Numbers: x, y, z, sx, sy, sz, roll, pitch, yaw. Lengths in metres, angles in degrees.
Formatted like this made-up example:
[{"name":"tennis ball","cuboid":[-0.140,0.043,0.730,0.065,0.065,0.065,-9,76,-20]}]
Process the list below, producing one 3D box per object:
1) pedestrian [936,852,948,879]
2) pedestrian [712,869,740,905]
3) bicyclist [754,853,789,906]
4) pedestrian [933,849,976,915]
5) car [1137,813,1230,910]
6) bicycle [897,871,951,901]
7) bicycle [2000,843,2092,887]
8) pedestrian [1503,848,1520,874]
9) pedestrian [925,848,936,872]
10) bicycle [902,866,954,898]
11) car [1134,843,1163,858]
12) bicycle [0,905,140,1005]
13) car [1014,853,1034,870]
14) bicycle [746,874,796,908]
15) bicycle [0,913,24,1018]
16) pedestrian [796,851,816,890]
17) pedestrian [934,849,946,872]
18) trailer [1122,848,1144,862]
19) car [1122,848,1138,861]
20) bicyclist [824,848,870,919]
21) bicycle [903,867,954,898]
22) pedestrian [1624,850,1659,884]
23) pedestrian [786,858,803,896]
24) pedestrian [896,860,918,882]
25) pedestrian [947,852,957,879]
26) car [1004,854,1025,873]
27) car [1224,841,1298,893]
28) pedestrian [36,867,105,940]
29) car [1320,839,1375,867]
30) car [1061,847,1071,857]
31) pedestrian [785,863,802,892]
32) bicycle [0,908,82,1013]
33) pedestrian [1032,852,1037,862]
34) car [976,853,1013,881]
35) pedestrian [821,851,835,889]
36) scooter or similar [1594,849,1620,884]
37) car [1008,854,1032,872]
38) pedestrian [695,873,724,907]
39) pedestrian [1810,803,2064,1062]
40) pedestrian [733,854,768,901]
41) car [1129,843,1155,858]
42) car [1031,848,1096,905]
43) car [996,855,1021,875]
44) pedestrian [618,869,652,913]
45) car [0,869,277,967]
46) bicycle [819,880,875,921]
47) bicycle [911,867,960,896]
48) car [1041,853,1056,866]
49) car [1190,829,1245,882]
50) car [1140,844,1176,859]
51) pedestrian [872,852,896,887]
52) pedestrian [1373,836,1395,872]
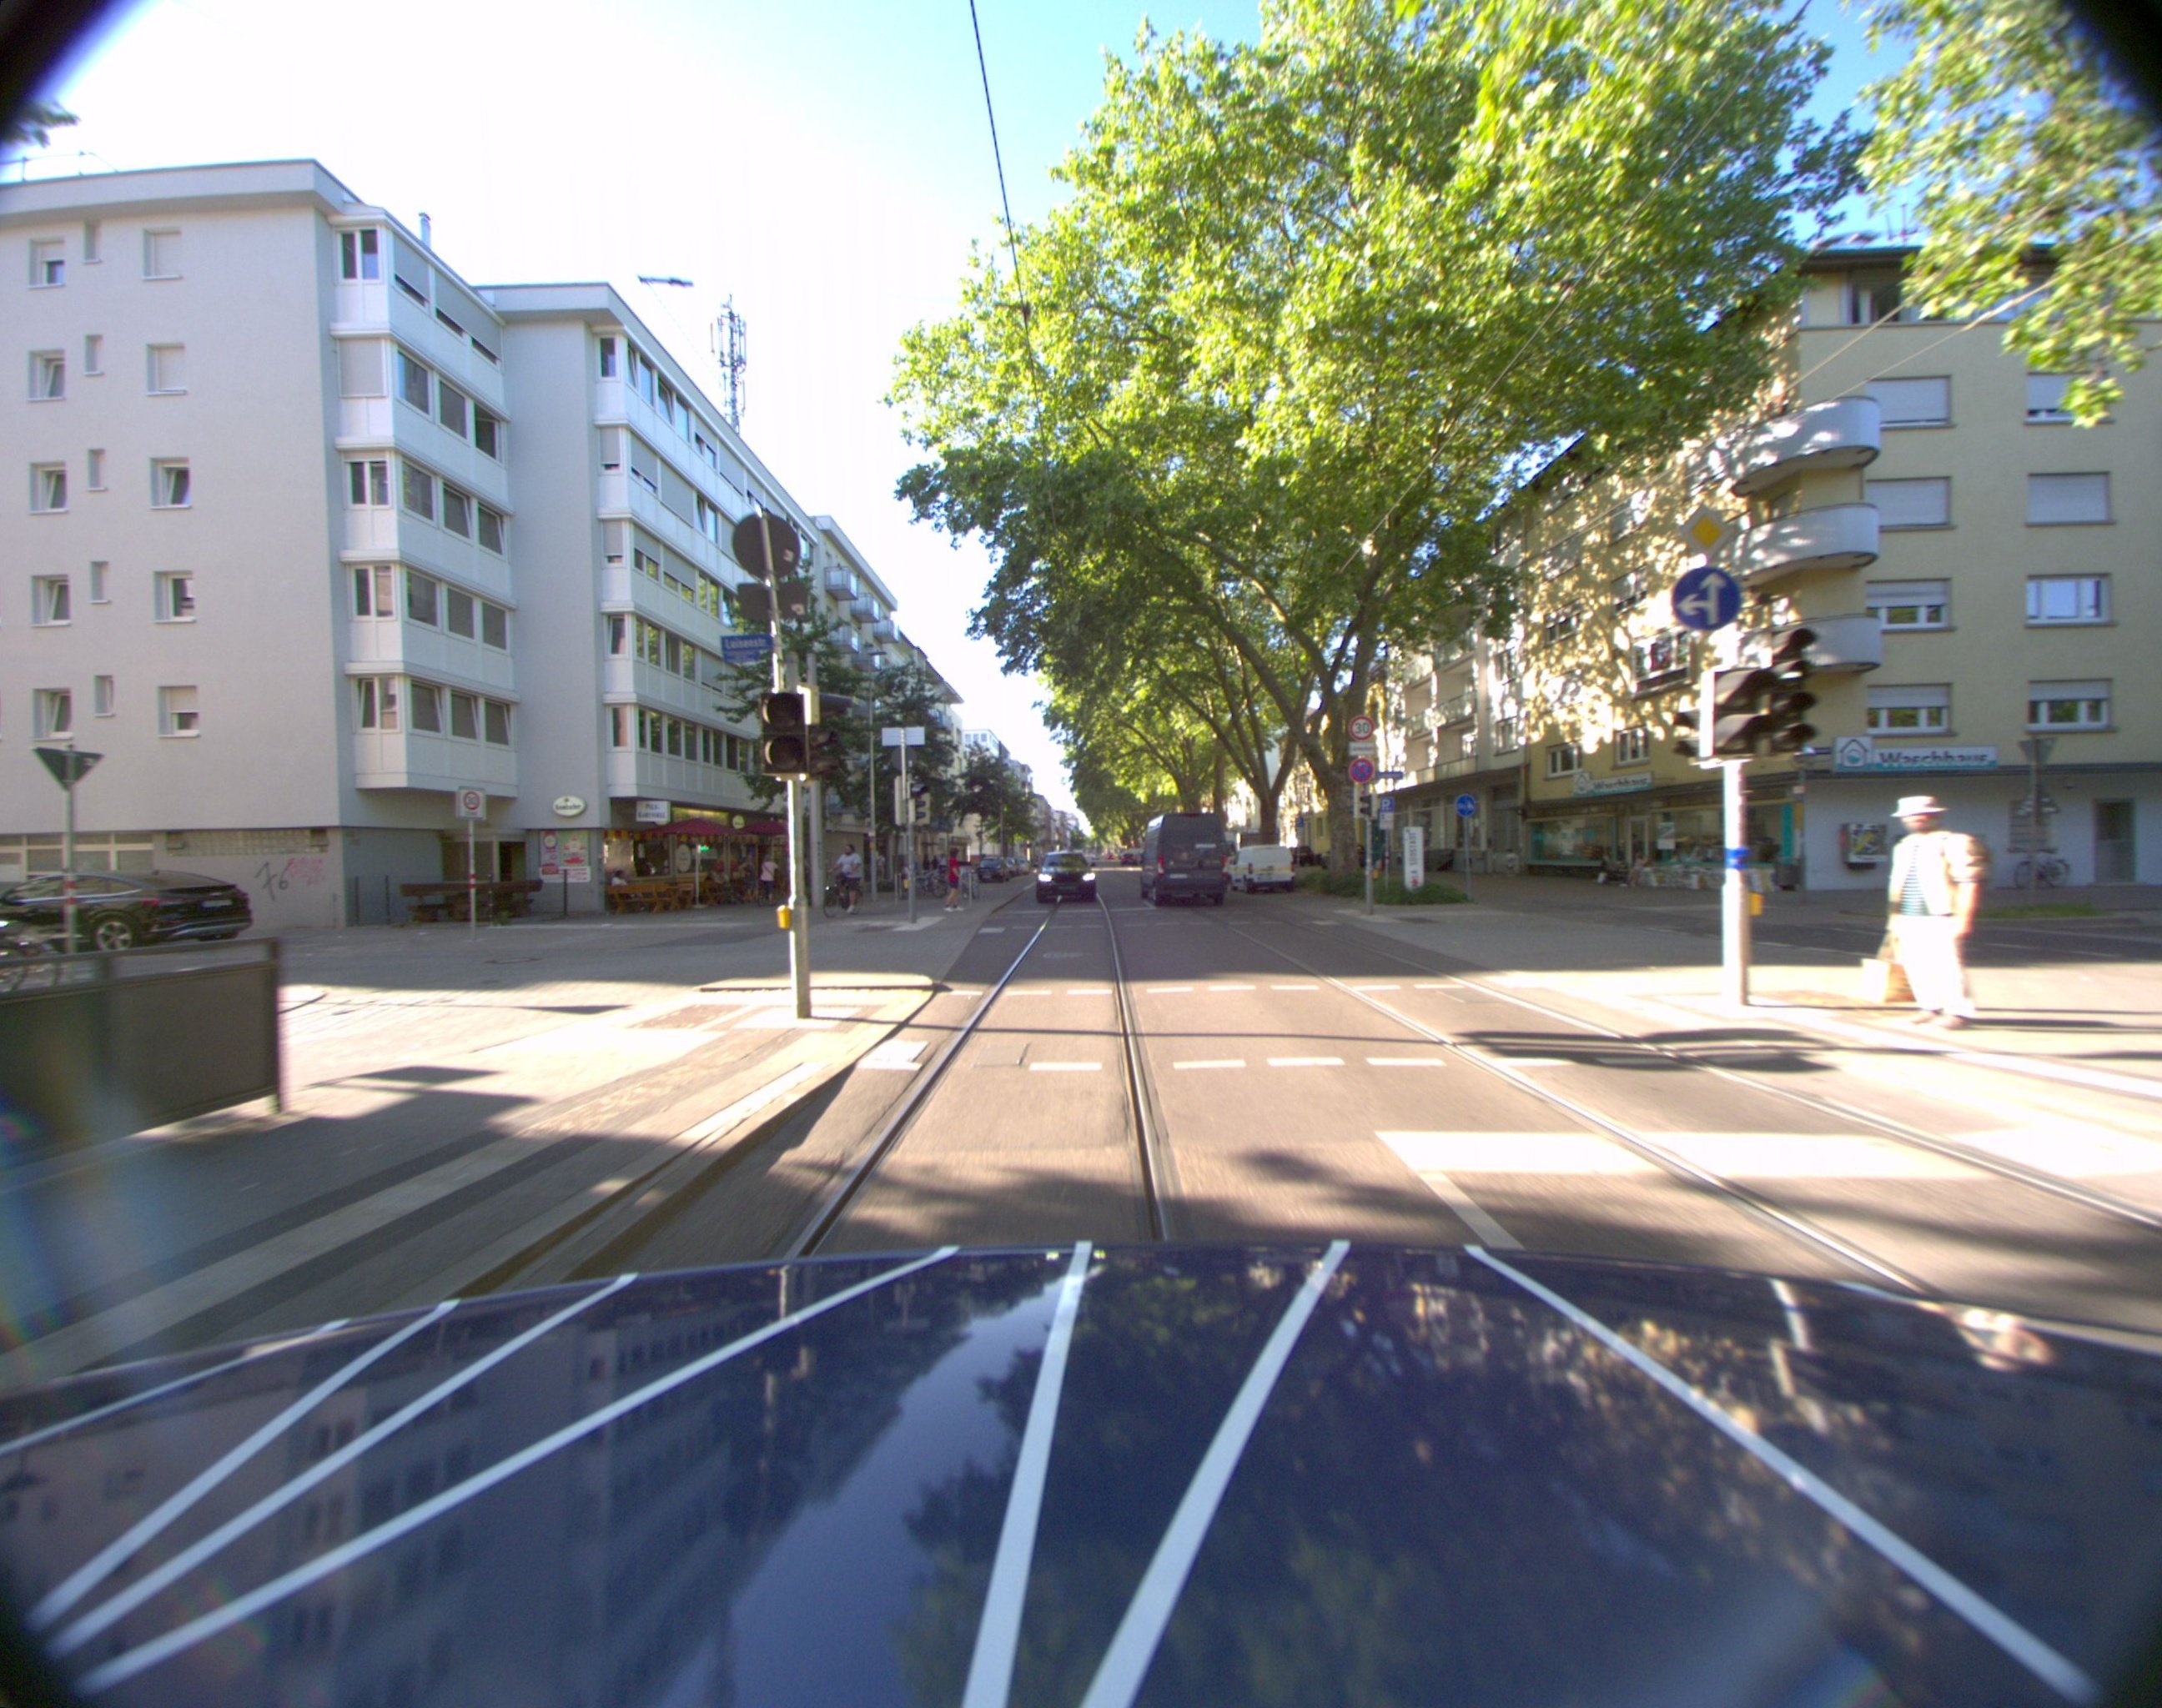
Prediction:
[{"name":"pedestrian","cuboid":[-9.721,0.791,53.037,0.663,1.841,0.539,-2,1,0]},{"name":"pedestrian","cuboid":[-12.269,1.138,26.292,0.660,1.168,0.522,-2,1,-1]},{"name":"bicyclist","cuboid":[-10.318,0.845,25.357,0.678,1.707,0.965,-2,1,3]},{"name":"pedestrian","cuboid":[-3.489,0.752,20.968,1.048,1.748,0.877,-2,1,-13]},{"name":"car","cuboid":[3.129,0.170,24.510,2.119,2.722,6.113,0,1,-1]},{"name":"bicycle","cuboid":[-5.706,1.156,27.629,1.820,0.988,0.481,-2,1,-1]},{"name":"bicycle","cuboid":[25.231,0.292,19.878,1.637,1.078,0.543,-2,0,2]},{"name":"pedestrian","cuboid":[18.333,0.285,32.354,0.421,1.099,0.437,-2,1,-9]},{"name":"pedestrian","cuboid":[-10.633,0.435,53.659,0.597,1.668,0.934,1,1,-1]},{"name":"bicycle","cuboid":[-5.753,1.060,28.658,1.821,1.094,0.497,-2,1,-7]},{"name":"car","cuboid":[11.070,-0.565,124.622,4.661,2.293,2.000,-2,1,1]},{"name":"bicycle","cuboid":[-13.381,1.280,9.740,1.919,1.200,0.511,-1,0,-2]},{"name":"car","cuboid":[-5.435,0.712,73.088,1.724,1.562,4.258,1,1,-2]},{"name":"bicycle","cuboid":[-10.316,1.216,25.376,0.678,0.957,2.022,-2,1,4]},{"name":"bicycle","cuboid":[-13.415,1.306,8.651,1.919,1.200,0.511,-1,0,-2]},{"name":"pedestrian","cuboid":[-12.839,0.778,35.472,0.525,1.795,0.633,-1,2,44]},{"name":"pedestrian","cuboid":[-9.939,0.454,53.664,0.643,1.628,0.869,1,1,-1]},{"name":"trailer","cuboid":[6.849,0.100,101.084,2.453,1.622,6.583,1,1,-1]},{"name":"car","cuboid":[6.858,0.053,106.706,1.928,1.674,4.181,1,1,-1]},{"name":"bicyclist","cuboid":[-6.188,0.755,20.134,0.769,1.821,1.099,-2,1,2]},{"name":"bicycle","cuboid":[-5.875,1.076,29.313,1.821,1.094,0.481,-2,1,-7]},{"name":"pedestrian","cuboid":[18.182,0.420,24.657,0.580,1.041,0.711,-2,1,0]},{"name":"pedestrian","cuboid":[-12.633,0.997,33.453,0.508,1.619,0.517,-3,2,-36]},{"name":"pedestrian","cuboid":[-8.616,0.845,37.568,1.002,1.021,0.660,-2,1,-12]},{"name":"pedestrian","cuboid":[-9.053,0.783,53.322,0.477,1.841,0.664,-2,1,-2]},{"name":"car","cuboid":[-5.510,0.792,63.156,1.448,1.528,2.881,1,0,1]},{"name":"car","cuboid":[6.931,0.451,29.732,1.767,1.840,4.317,-2,1,-1]},{"name":"pedestrian","cuboid":[-22.694,1.099,17.079,0.552,1.553,0.645,-2,2,5]},{"name":"car","cuboid":[17.608,-0.114,50.489,1.998,1.723,4.897,-2,1,2]},{"name":"car","cuboid":[-3.333,-0.397,172.148,1.991,2.085,4.470,-2,1,2]},{"name":"pedestrian","cuboid":[-12.672,1.035,33.522,0.510,1.269,0.625,-3,2,-36]},{"name":"bicycle","cuboid":[-13.427,1.284,9.186,1.919,1.200,0.511,-1,0,-2]},{"name":"pedestrian","cuboid":[-8.194,0.570,134.291,0.697,1.685,0.678,-2,1,1]},{"name":"car","cuboid":[-5.412,0.801,48.166,1.763,1.578,4.328,2,1,1]},{"name":"pedestrian","cuboid":[-12.215,0.773,36.637,0.432,1.786,0.489,-2,1,0]},{"name":"scooter or similar","cuboid":[17.684,0.416,25.556,0.642,1.160,0.676,-2,1,28]},{"name":"car","cuboid":[-5.354,0.756,67.148,1.791,1.528,4.127,1,0,1]},{"name":"pedestrian","cuboid":[-12.368,1.180,25.286,0.643,1.072,0.522,-2,1,-1]},{"name":"pedestrian","cuboid":[6.589,0.561,5.913,0.926,1.825,0.920,-2,1,-2]},{"name":"pedestrian","cuboid":[-11.912,0.851,27.396,0.812,1.649,0.680,-2,1,19]},{"name":"car","cuboid":[11.149,-0.609,139.185,4.661,2.518,2.000,-2,1,1]},{"name":"car","cuboid":[-0.534,0.719,26.867,1.998,1.723,4.399,-3,1,2]},{"name":"car","cuboid":[-5.648,0.821,59.322,1.626,1.473,3.889,1,0,-1]},{"name":"pedestrian","cuboid":[-13.561,1.113,23.119,0.536,1.280,0.715,-2,1,3]},{"name":"car","cuboid":[-18.862,1.205,14.785,4.259,1.583,1.966,-2,2,0]},{"name":"bicycle","cuboid":[-6.172,1.202,20.129,0.790,0.932,1.939,-2,1,2]},{"name":"bicycle","cuboid":[-5.704,1.070,29.819,1.820,1.094,0.525,-1,1,0]},{"name":"car","cuboid":[-5.171,0.900,121.907,1.958,1.914,4.000,-2,1,2]},{"name":"car","cuboid":[7.174,0.049,40.685,2.112,2.562,6.024,-2,1,3]},{"name":"car","cuboid":[11.789,-0.416,115.981,5.134,1.984,1.999,-2,1,-3]},{"name":"pedestrian","cuboid":[-10.184,0.781,39.258,0.997,1.774,0.591,-3,2,-38]},{"name":"pedestrian","cuboid":[16.146,-0.017,40.491,0.746,1.859,0.863,-2,1,-1]}]
